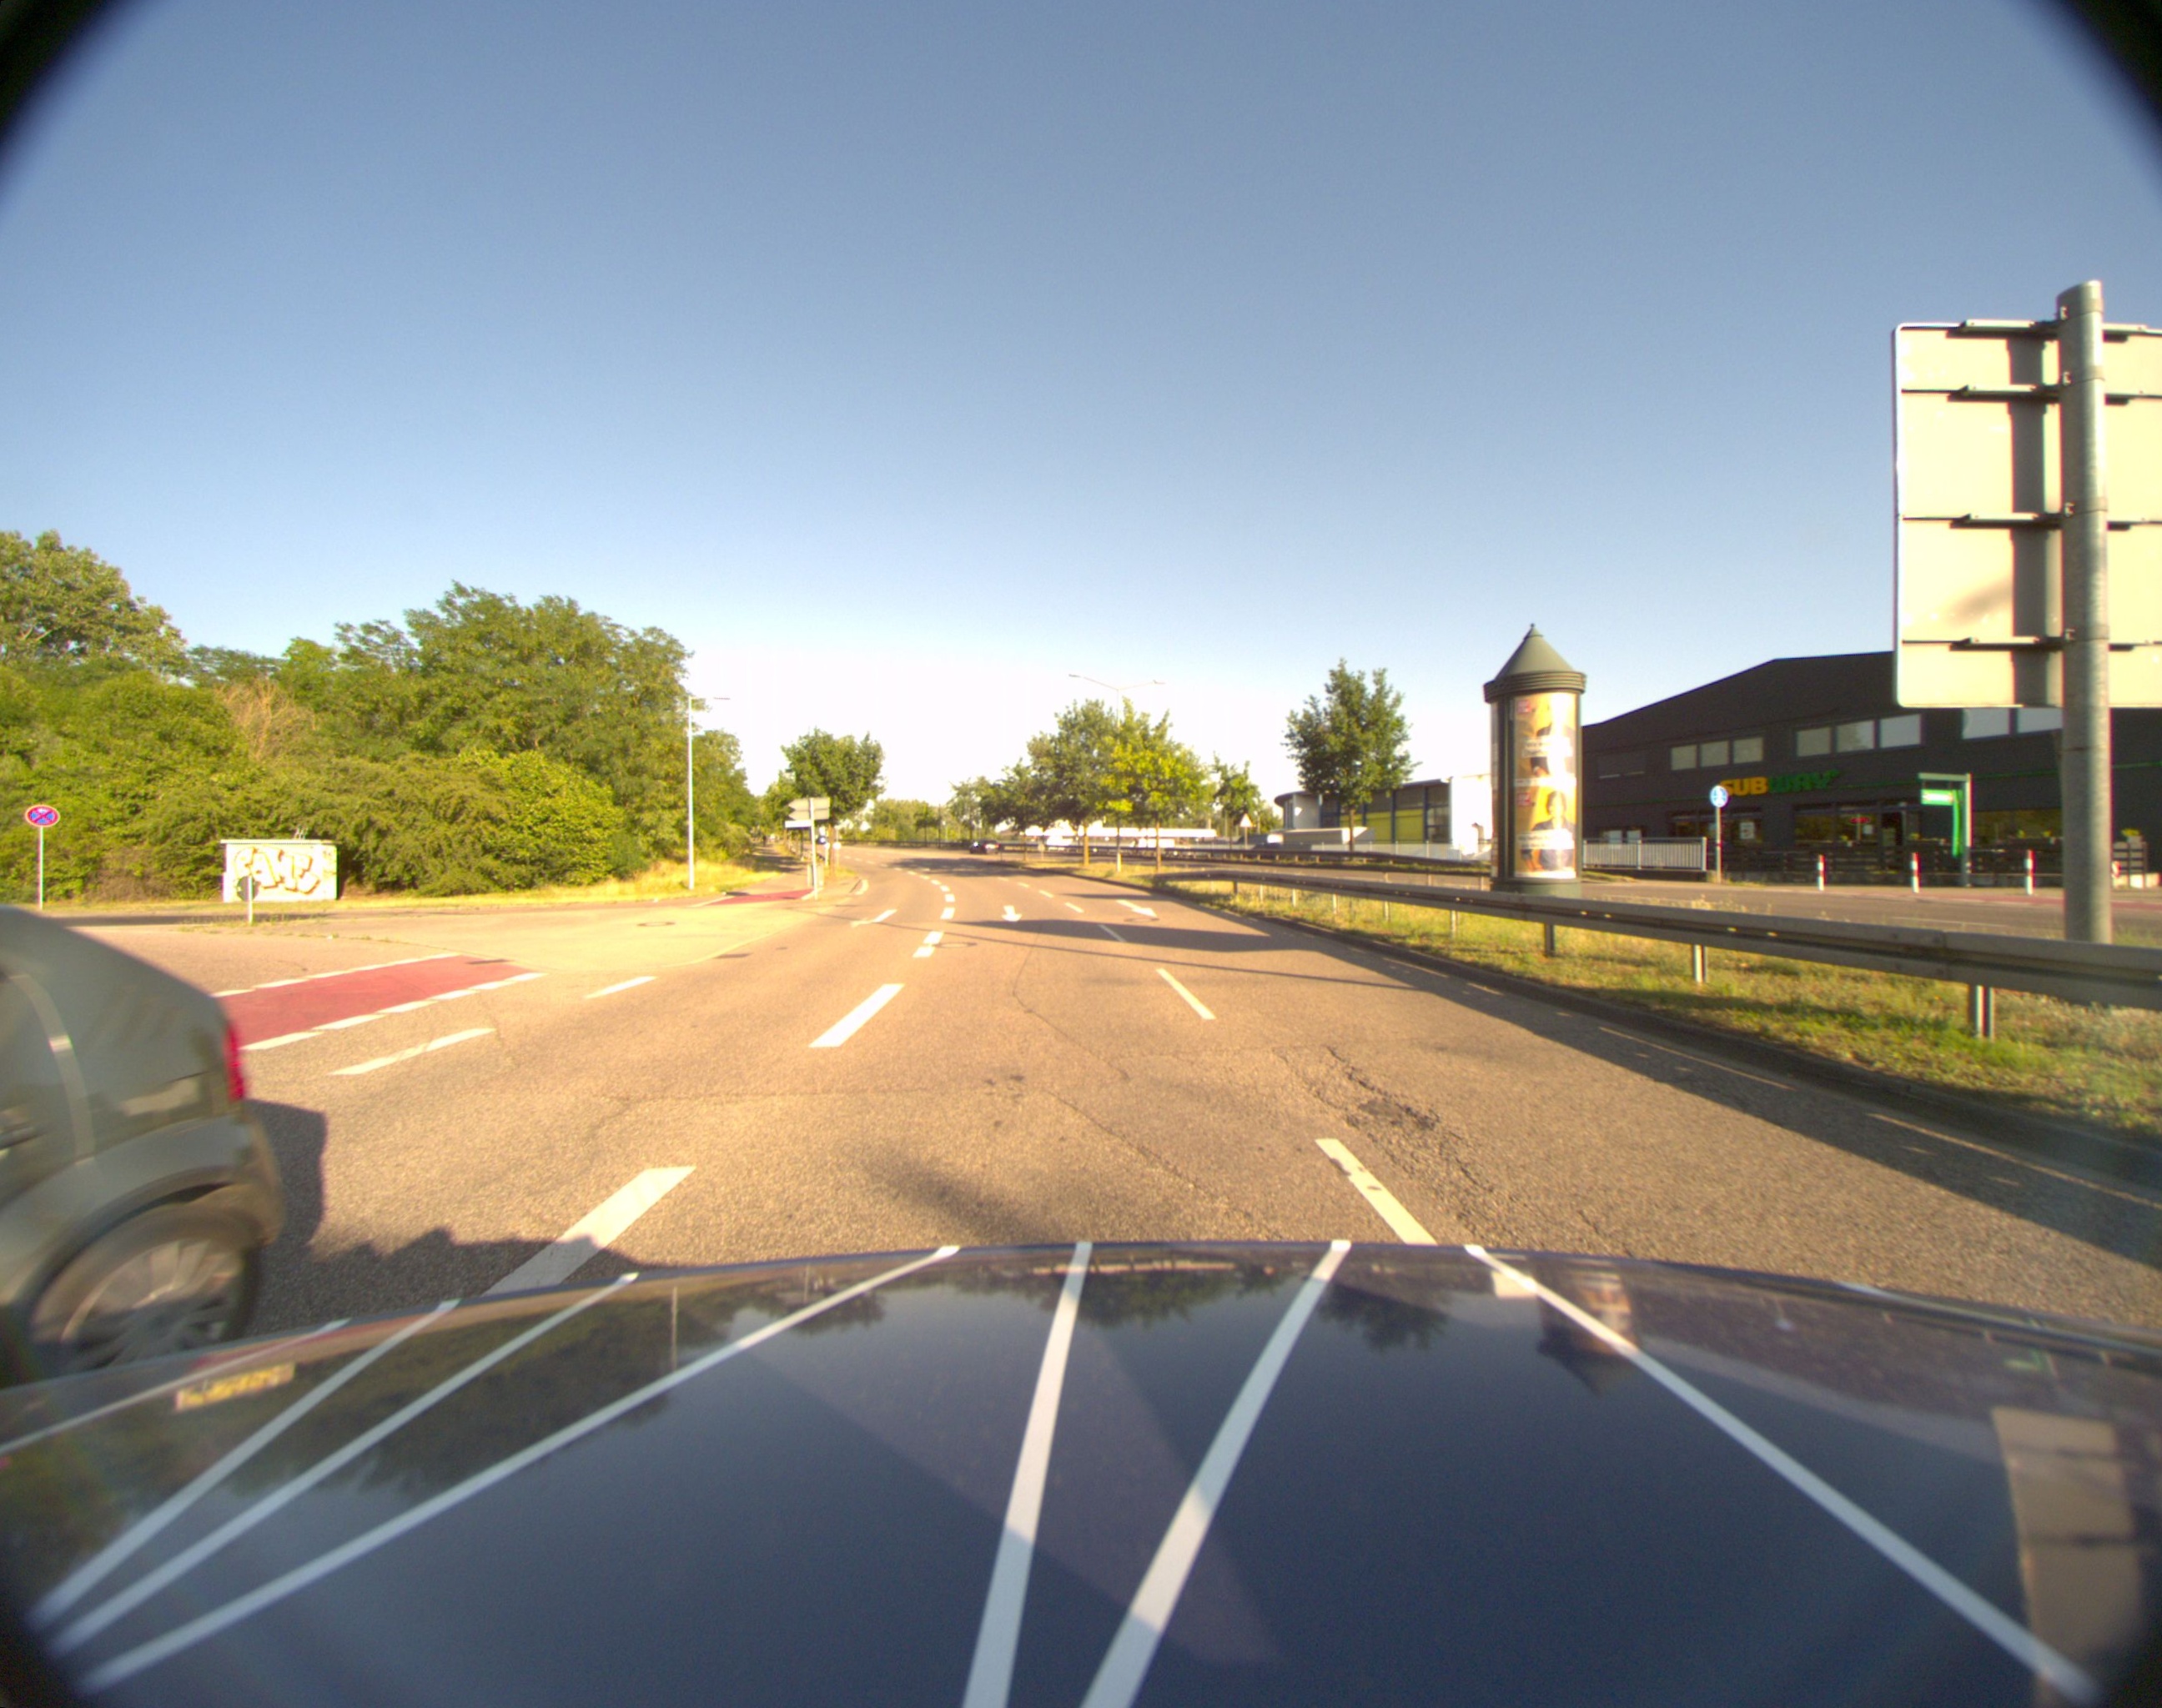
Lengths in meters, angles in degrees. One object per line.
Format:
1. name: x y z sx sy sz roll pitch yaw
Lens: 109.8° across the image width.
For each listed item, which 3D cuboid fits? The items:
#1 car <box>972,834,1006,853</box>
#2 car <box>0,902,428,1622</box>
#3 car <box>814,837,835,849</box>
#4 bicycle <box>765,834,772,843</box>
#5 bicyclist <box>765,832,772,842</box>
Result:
1. car: -9.286 -1.000 76.329 2.003 1.761 3.991 -3 1 -30
2. car: -3.446 1.053 0.937 1.741 1.621 4.061 -2 1 -1
3. car: -41.724 -1.836 123.512 2.003 1.761 3.989 -3 1 -37
4. bicycle: -42.081 -2.092 102.358 0.783 1.051 2.492 -3 1 -21
5. bicyclist: -42.106 -2.289 102.333 0.844 1.413 1.112 -3 1 -20
